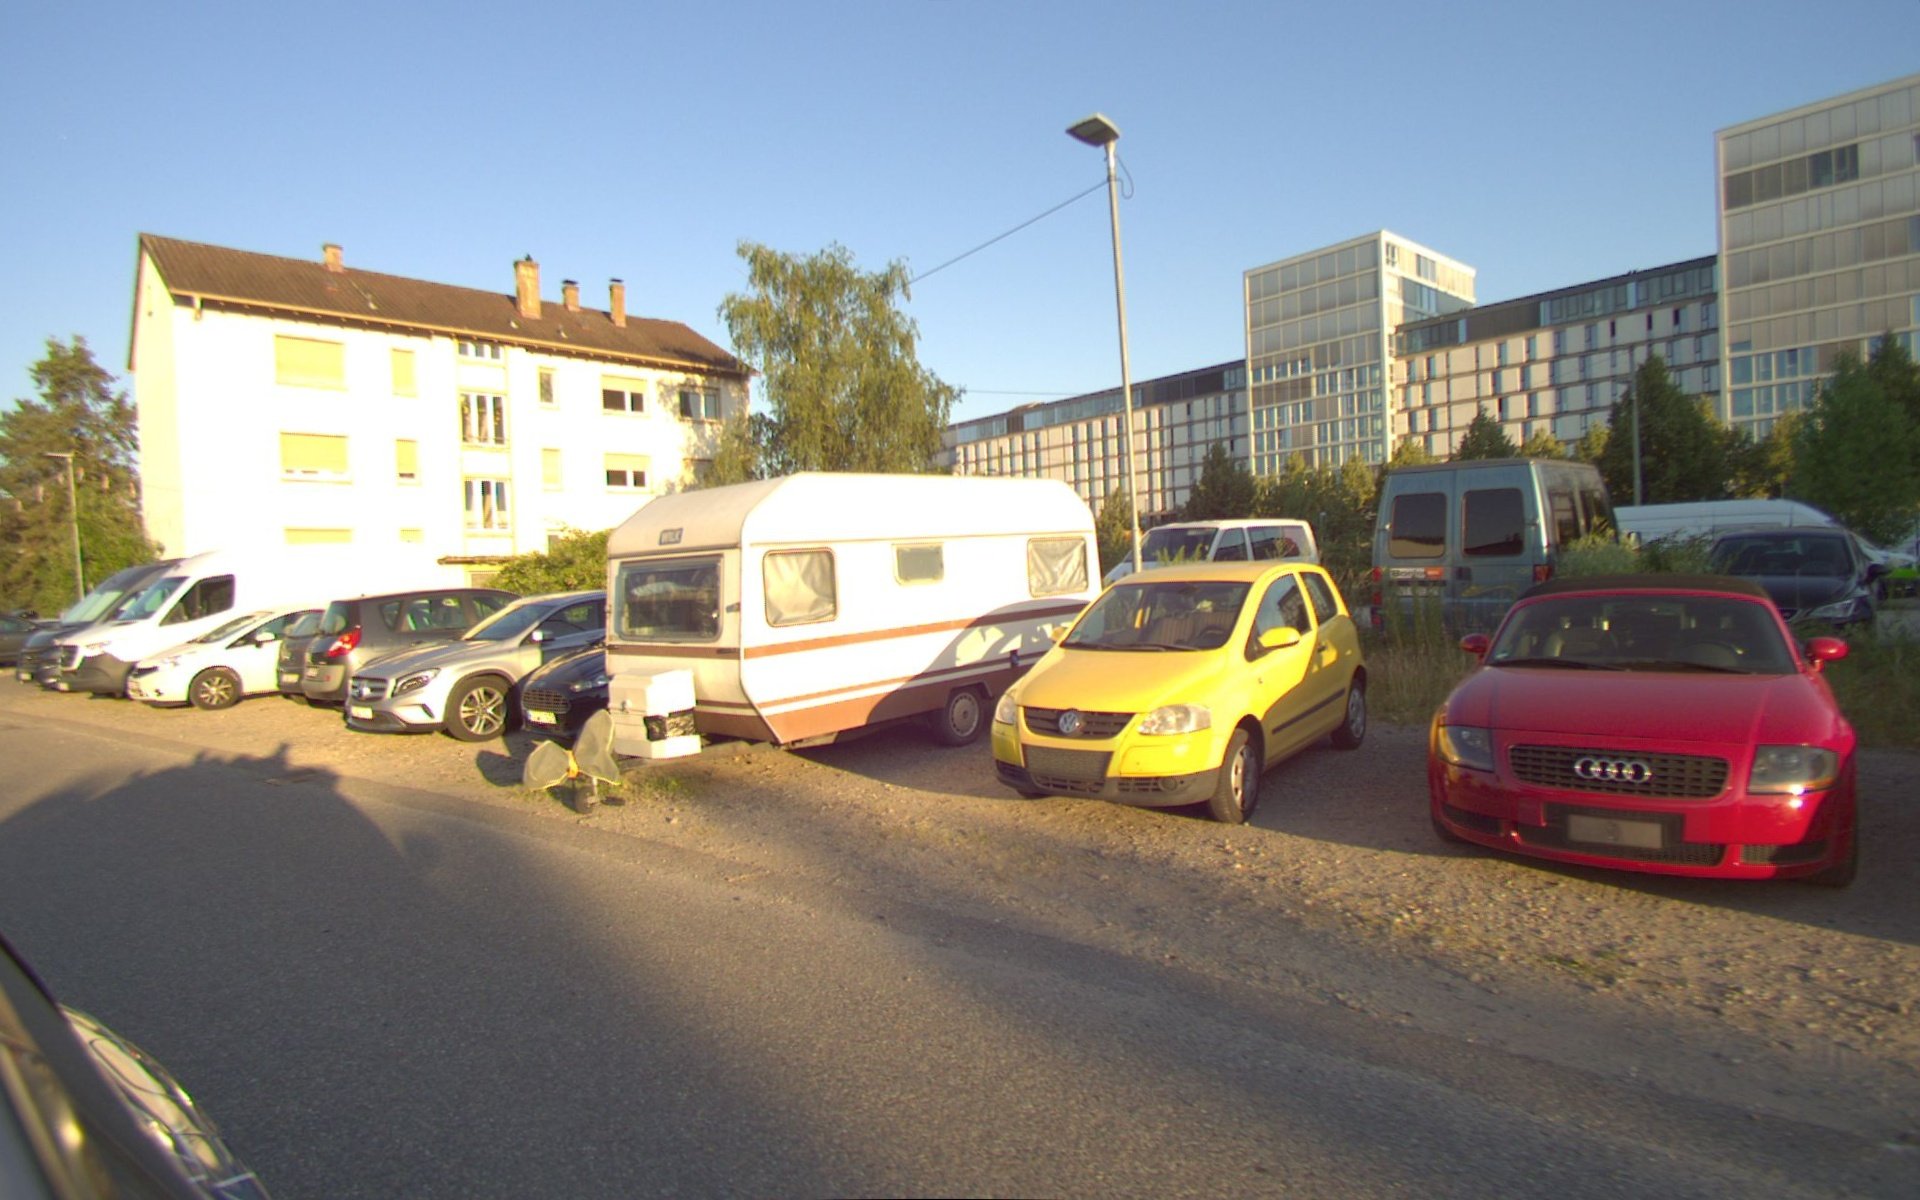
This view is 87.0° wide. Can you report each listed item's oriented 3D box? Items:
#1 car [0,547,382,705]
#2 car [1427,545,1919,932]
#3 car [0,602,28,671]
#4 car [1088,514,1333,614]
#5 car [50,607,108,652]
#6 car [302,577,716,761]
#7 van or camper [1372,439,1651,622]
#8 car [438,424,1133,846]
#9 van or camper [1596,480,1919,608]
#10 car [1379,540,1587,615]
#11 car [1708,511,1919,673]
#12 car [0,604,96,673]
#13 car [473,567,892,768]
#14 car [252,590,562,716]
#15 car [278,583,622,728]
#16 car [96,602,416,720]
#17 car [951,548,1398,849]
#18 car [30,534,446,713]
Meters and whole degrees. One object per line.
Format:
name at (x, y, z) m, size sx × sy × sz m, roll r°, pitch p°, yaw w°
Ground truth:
car at (-16.156, 0.344, 21.594) m, size 2.104 × 2.733 × 6.347 m, roll -1°, pitch 3°, yaw 29°
car at (3.983, 0.452, 5.651) m, size 1.703 × 1.377 × 3.692 m, roll -2°, pitch 2°, yaw 37°
car at (-28.533, 1.165, 27.761) m, size 1.737 × 1.925 × 3.909 m, roll -3°, pitch 2°, yaw 23°
car at (4.414, -0.650, 17.465) m, size 4.314 × 1.487 × 1.985 m, roll -4°, pitch 2°, yaw -42°
car at (-48.920, 1.664, 56.173) m, size 4.820 × 2.165 × 1.824 m, roll -5°, pitch -1°, yaw 42°
car at (-5.104, 0.648, 11.975) m, size 1.745 × 1.602 × 4.089 m, roll -1°, pitch 3°, yaw 37°
van or camper at (7.100, -0.832, 12.812) m, size 1.933 × 1.905 × 4.288 m, roll -2°, pitch 2°, yaw 45°
car at (-1.088, 0.041, 9.092) m, size 2.411 × 2.552 × 5.827 m, roll -1°, pitch 3°, yaw 42°
van or camper at (19.538, -1.253, 24.534) m, size 1.992 × 2.710 × 6.644 m, roll -5°, pitch 2°, yaw -44°
car at (11.400, -0.448, 22.201) m, size 1.685 × 1.472 × 3.685 m, roll -2°, pitch 0°, yaw -45°
car at (9.336, -0.150, 11.134) m, size 1.690 × 1.487 × 3.571 m, roll -2°, pitch 2°, yaw 37°
car at (-25.930, 1.112, 27.129) m, size 1.746 × 1.664 × 3.888 m, roll -2°, pitch 2°, yaw 39°
car at (-2.801, 0.548, 11.002) m, size 1.746 × 1.602 × 4.087 m, roll -1°, pitch 3°, yaw 39°
car at (-8.560, 0.715, 15.970) m, size 1.745 × 1.602 × 3.891 m, roll 0°, pitch 2°, yaw 36°
car at (-6.988, 0.664, 14.131) m, size 1.749 × 1.602 × 3.882 m, roll -2°, pitch 1°, yaw 44°
car at (-11.343, 0.895, 16.539) m, size 1.786 × 1.518 × 3.890 m, roll -1°, pitch 2°, yaw 36°
car at (1.737, 0.468, 7.234) m, size 1.703 × 1.530 × 3.595 m, roll -2°, pitch 2°, yaw 37°
car at (-12.986, 0.243, 18.733) m, size 2.045 × 2.733 × 5.779 m, roll -2°, pitch 2°, yaw 34°
